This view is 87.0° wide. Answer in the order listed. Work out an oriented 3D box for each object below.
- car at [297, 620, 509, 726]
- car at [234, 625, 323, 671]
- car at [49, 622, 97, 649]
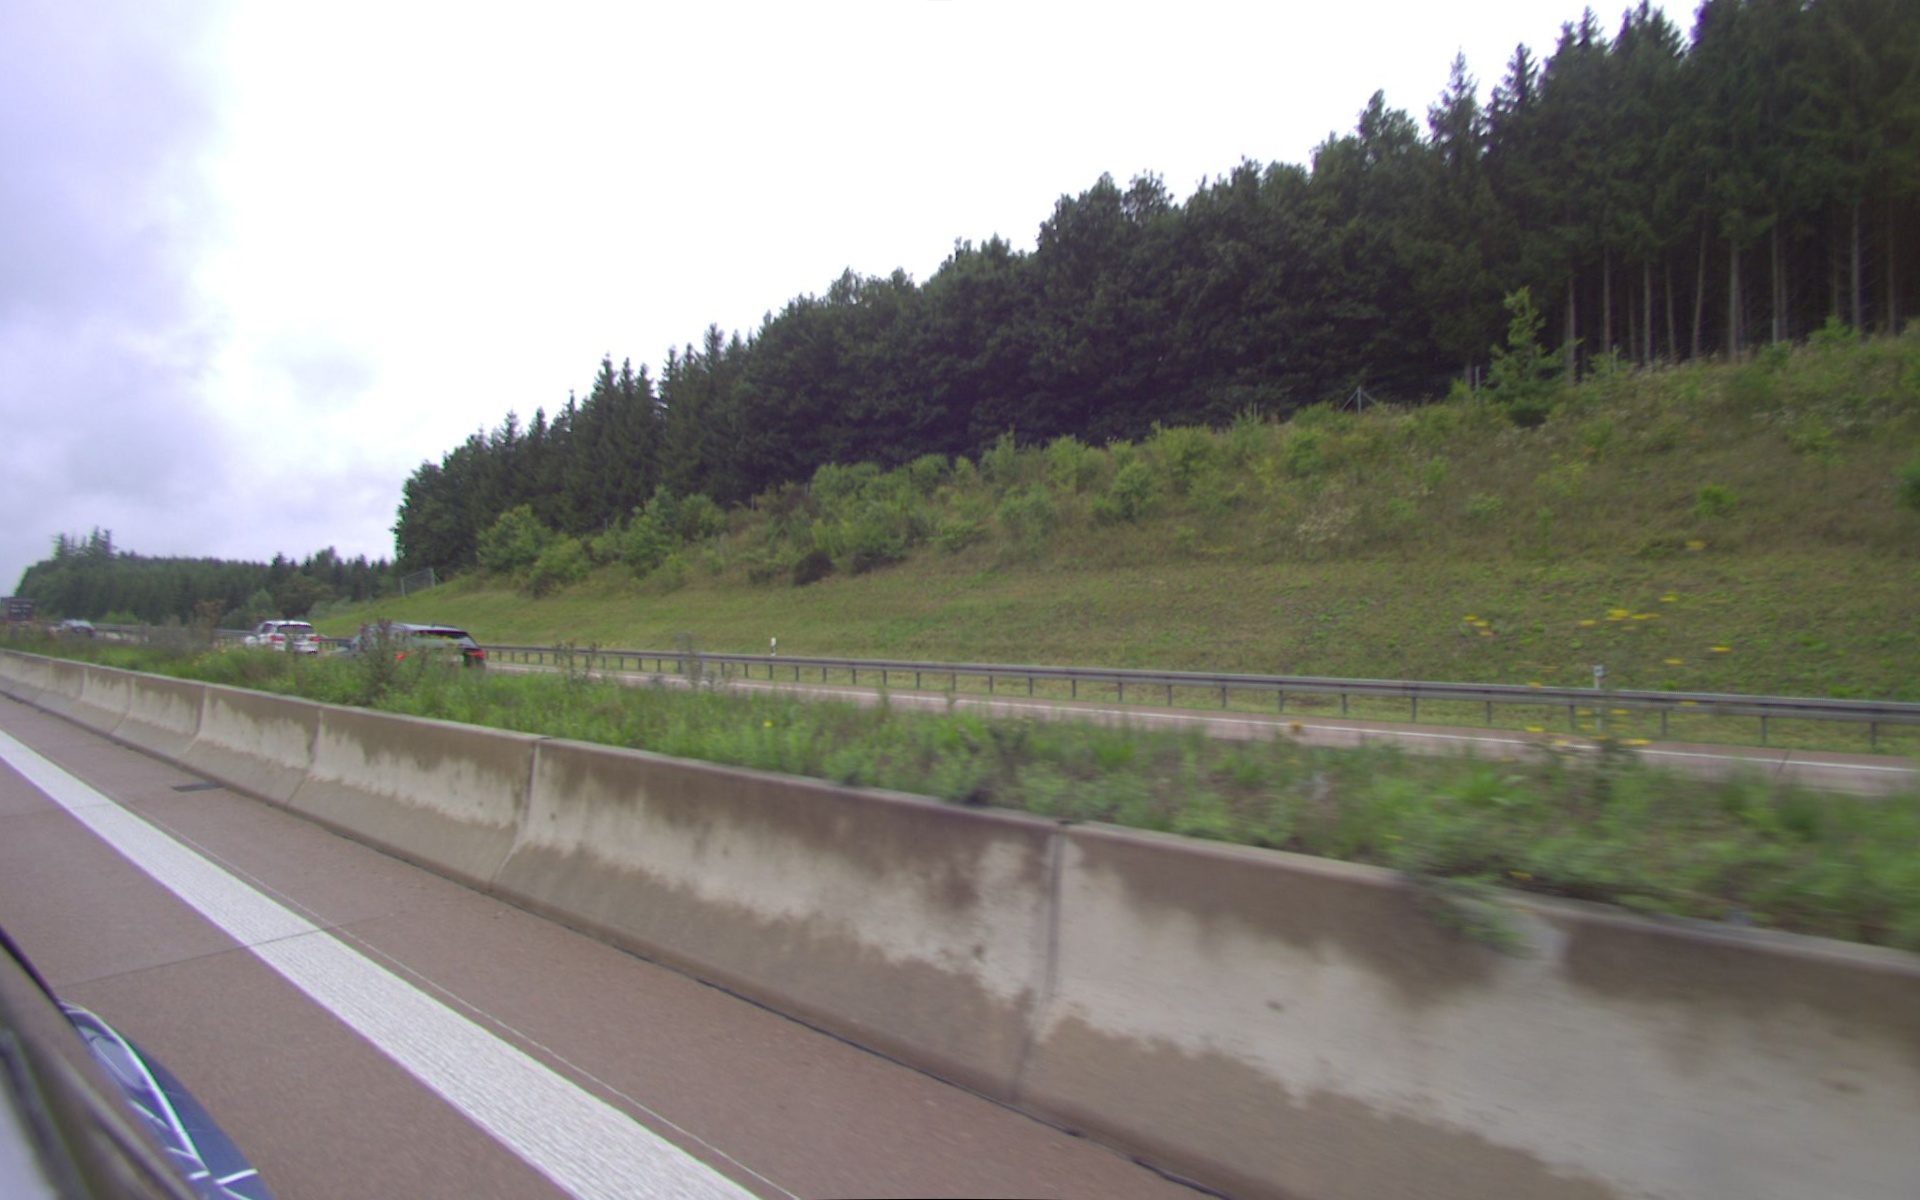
[{"bbox_3d":[-11.264,1.331,20.272,5.322,1.789,2.027,-1,0,41],"label":"car"},{"bbox_3d":[-27.743,1.909,41.115,4.950,1.736,1.795,-1,-3,42],"label":"car"},{"bbox_3d":[-60.288,2.374,68.764,4.258,1.733,1.972,-1,0,42],"label":"car"}]
